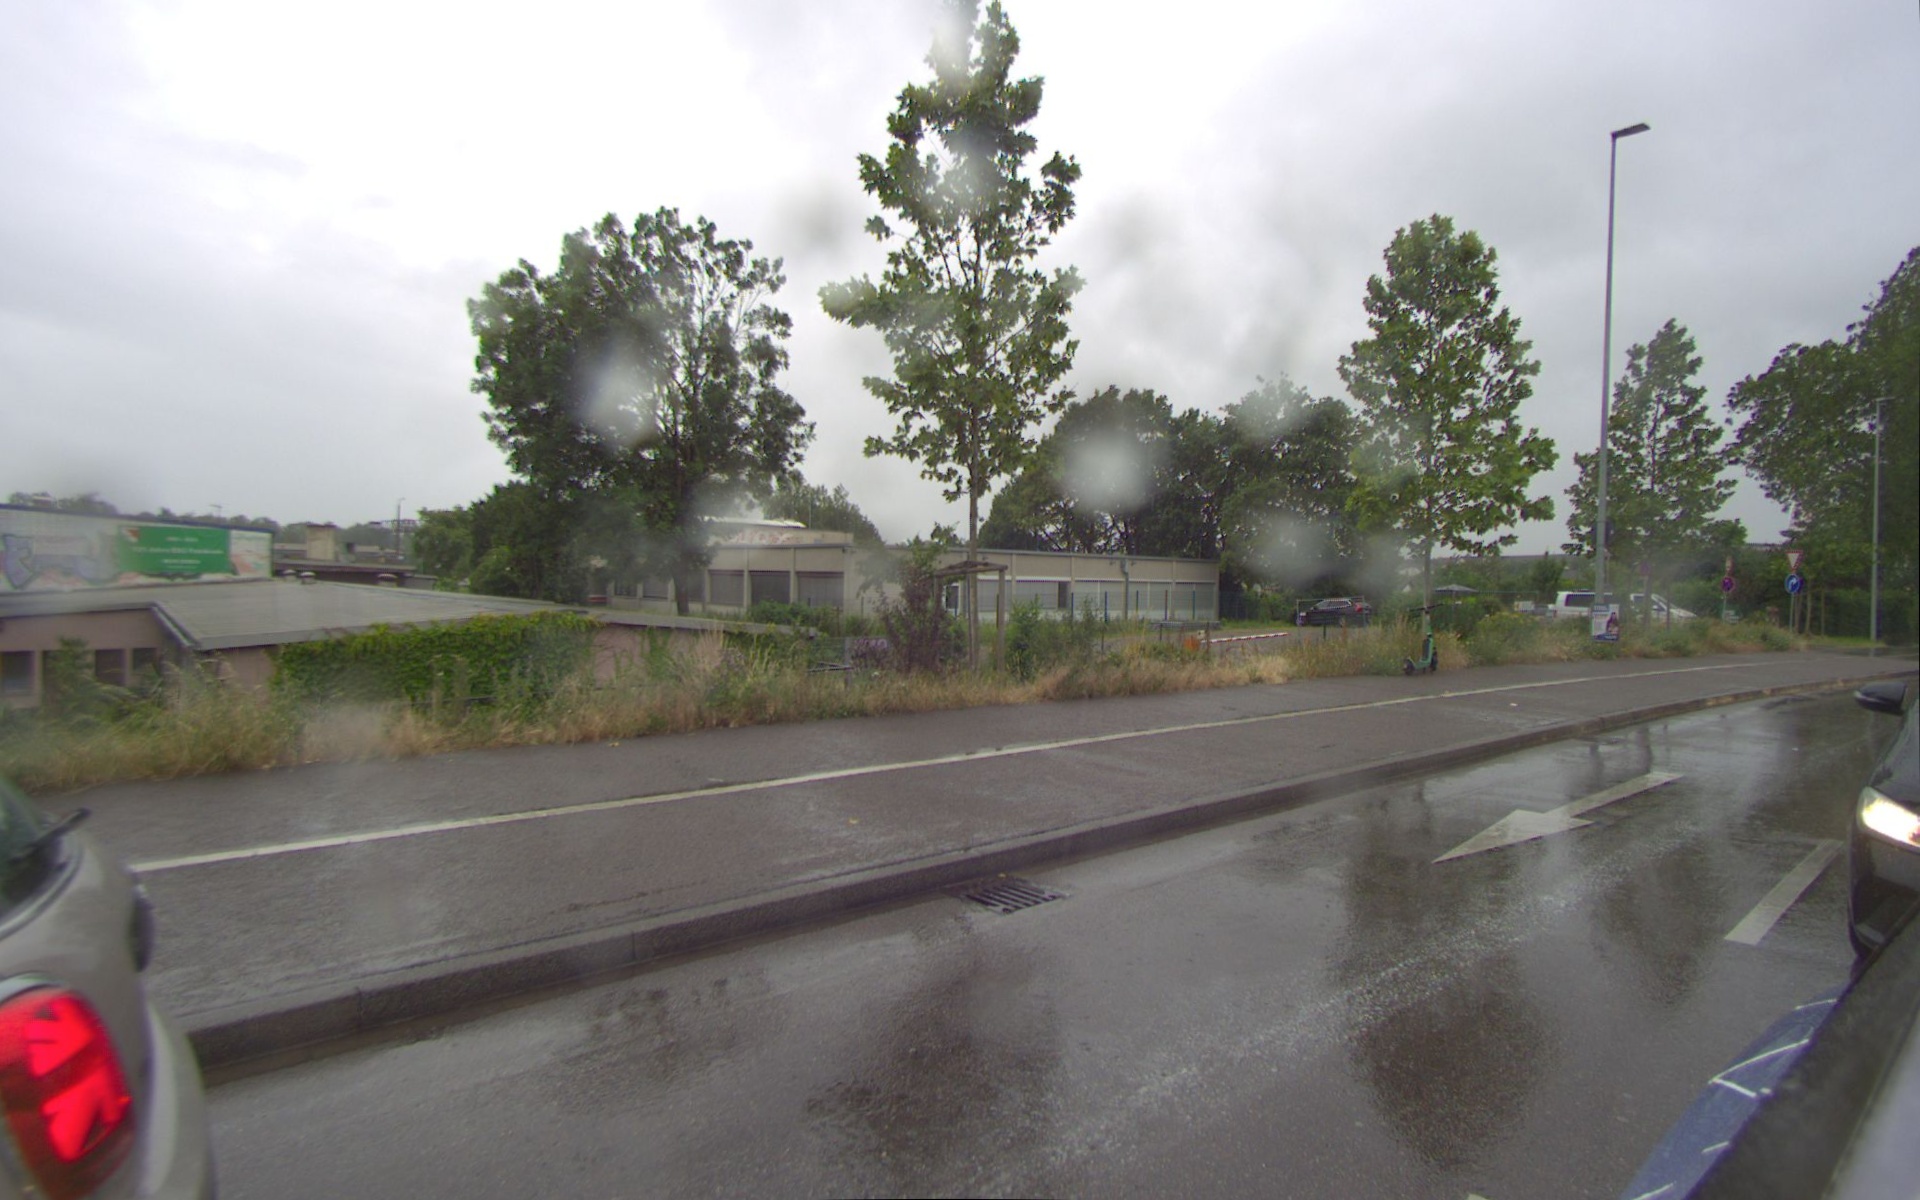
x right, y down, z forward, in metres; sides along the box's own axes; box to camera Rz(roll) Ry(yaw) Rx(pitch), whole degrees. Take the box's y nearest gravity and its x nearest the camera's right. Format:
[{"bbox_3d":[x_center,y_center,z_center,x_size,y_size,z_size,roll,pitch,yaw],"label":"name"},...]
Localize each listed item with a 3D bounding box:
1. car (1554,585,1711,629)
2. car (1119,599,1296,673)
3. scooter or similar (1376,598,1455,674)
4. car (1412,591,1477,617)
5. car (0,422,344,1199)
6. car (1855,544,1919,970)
[{"bbox_3d":[28.129,0.274,42.496,1.972,1.747,5.168,0,0,-42],"label":"car"},{"bbox_3d":[4.693,0.636,19.495,1.319,1.304,3.246,0,0,-35],"label":"car"},{"bbox_3d":[7.675,0.578,17.011,1.877,1.214,0.367,0,0,-38],"label":"scooter or similar"},{"bbox_3d":[30.928,0.267,64.703,1.319,1.604,3.555,0,0,-35],"label":"car"},{"bbox_3d":[-2.751,0.622,0.636,3.813,1.527,1.705,-2,0,-42],"label":"car"},{"bbox_3d":[5.662,0.618,4.458,4.090,1.601,1.759,1,0,-36],"label":"car"}]
